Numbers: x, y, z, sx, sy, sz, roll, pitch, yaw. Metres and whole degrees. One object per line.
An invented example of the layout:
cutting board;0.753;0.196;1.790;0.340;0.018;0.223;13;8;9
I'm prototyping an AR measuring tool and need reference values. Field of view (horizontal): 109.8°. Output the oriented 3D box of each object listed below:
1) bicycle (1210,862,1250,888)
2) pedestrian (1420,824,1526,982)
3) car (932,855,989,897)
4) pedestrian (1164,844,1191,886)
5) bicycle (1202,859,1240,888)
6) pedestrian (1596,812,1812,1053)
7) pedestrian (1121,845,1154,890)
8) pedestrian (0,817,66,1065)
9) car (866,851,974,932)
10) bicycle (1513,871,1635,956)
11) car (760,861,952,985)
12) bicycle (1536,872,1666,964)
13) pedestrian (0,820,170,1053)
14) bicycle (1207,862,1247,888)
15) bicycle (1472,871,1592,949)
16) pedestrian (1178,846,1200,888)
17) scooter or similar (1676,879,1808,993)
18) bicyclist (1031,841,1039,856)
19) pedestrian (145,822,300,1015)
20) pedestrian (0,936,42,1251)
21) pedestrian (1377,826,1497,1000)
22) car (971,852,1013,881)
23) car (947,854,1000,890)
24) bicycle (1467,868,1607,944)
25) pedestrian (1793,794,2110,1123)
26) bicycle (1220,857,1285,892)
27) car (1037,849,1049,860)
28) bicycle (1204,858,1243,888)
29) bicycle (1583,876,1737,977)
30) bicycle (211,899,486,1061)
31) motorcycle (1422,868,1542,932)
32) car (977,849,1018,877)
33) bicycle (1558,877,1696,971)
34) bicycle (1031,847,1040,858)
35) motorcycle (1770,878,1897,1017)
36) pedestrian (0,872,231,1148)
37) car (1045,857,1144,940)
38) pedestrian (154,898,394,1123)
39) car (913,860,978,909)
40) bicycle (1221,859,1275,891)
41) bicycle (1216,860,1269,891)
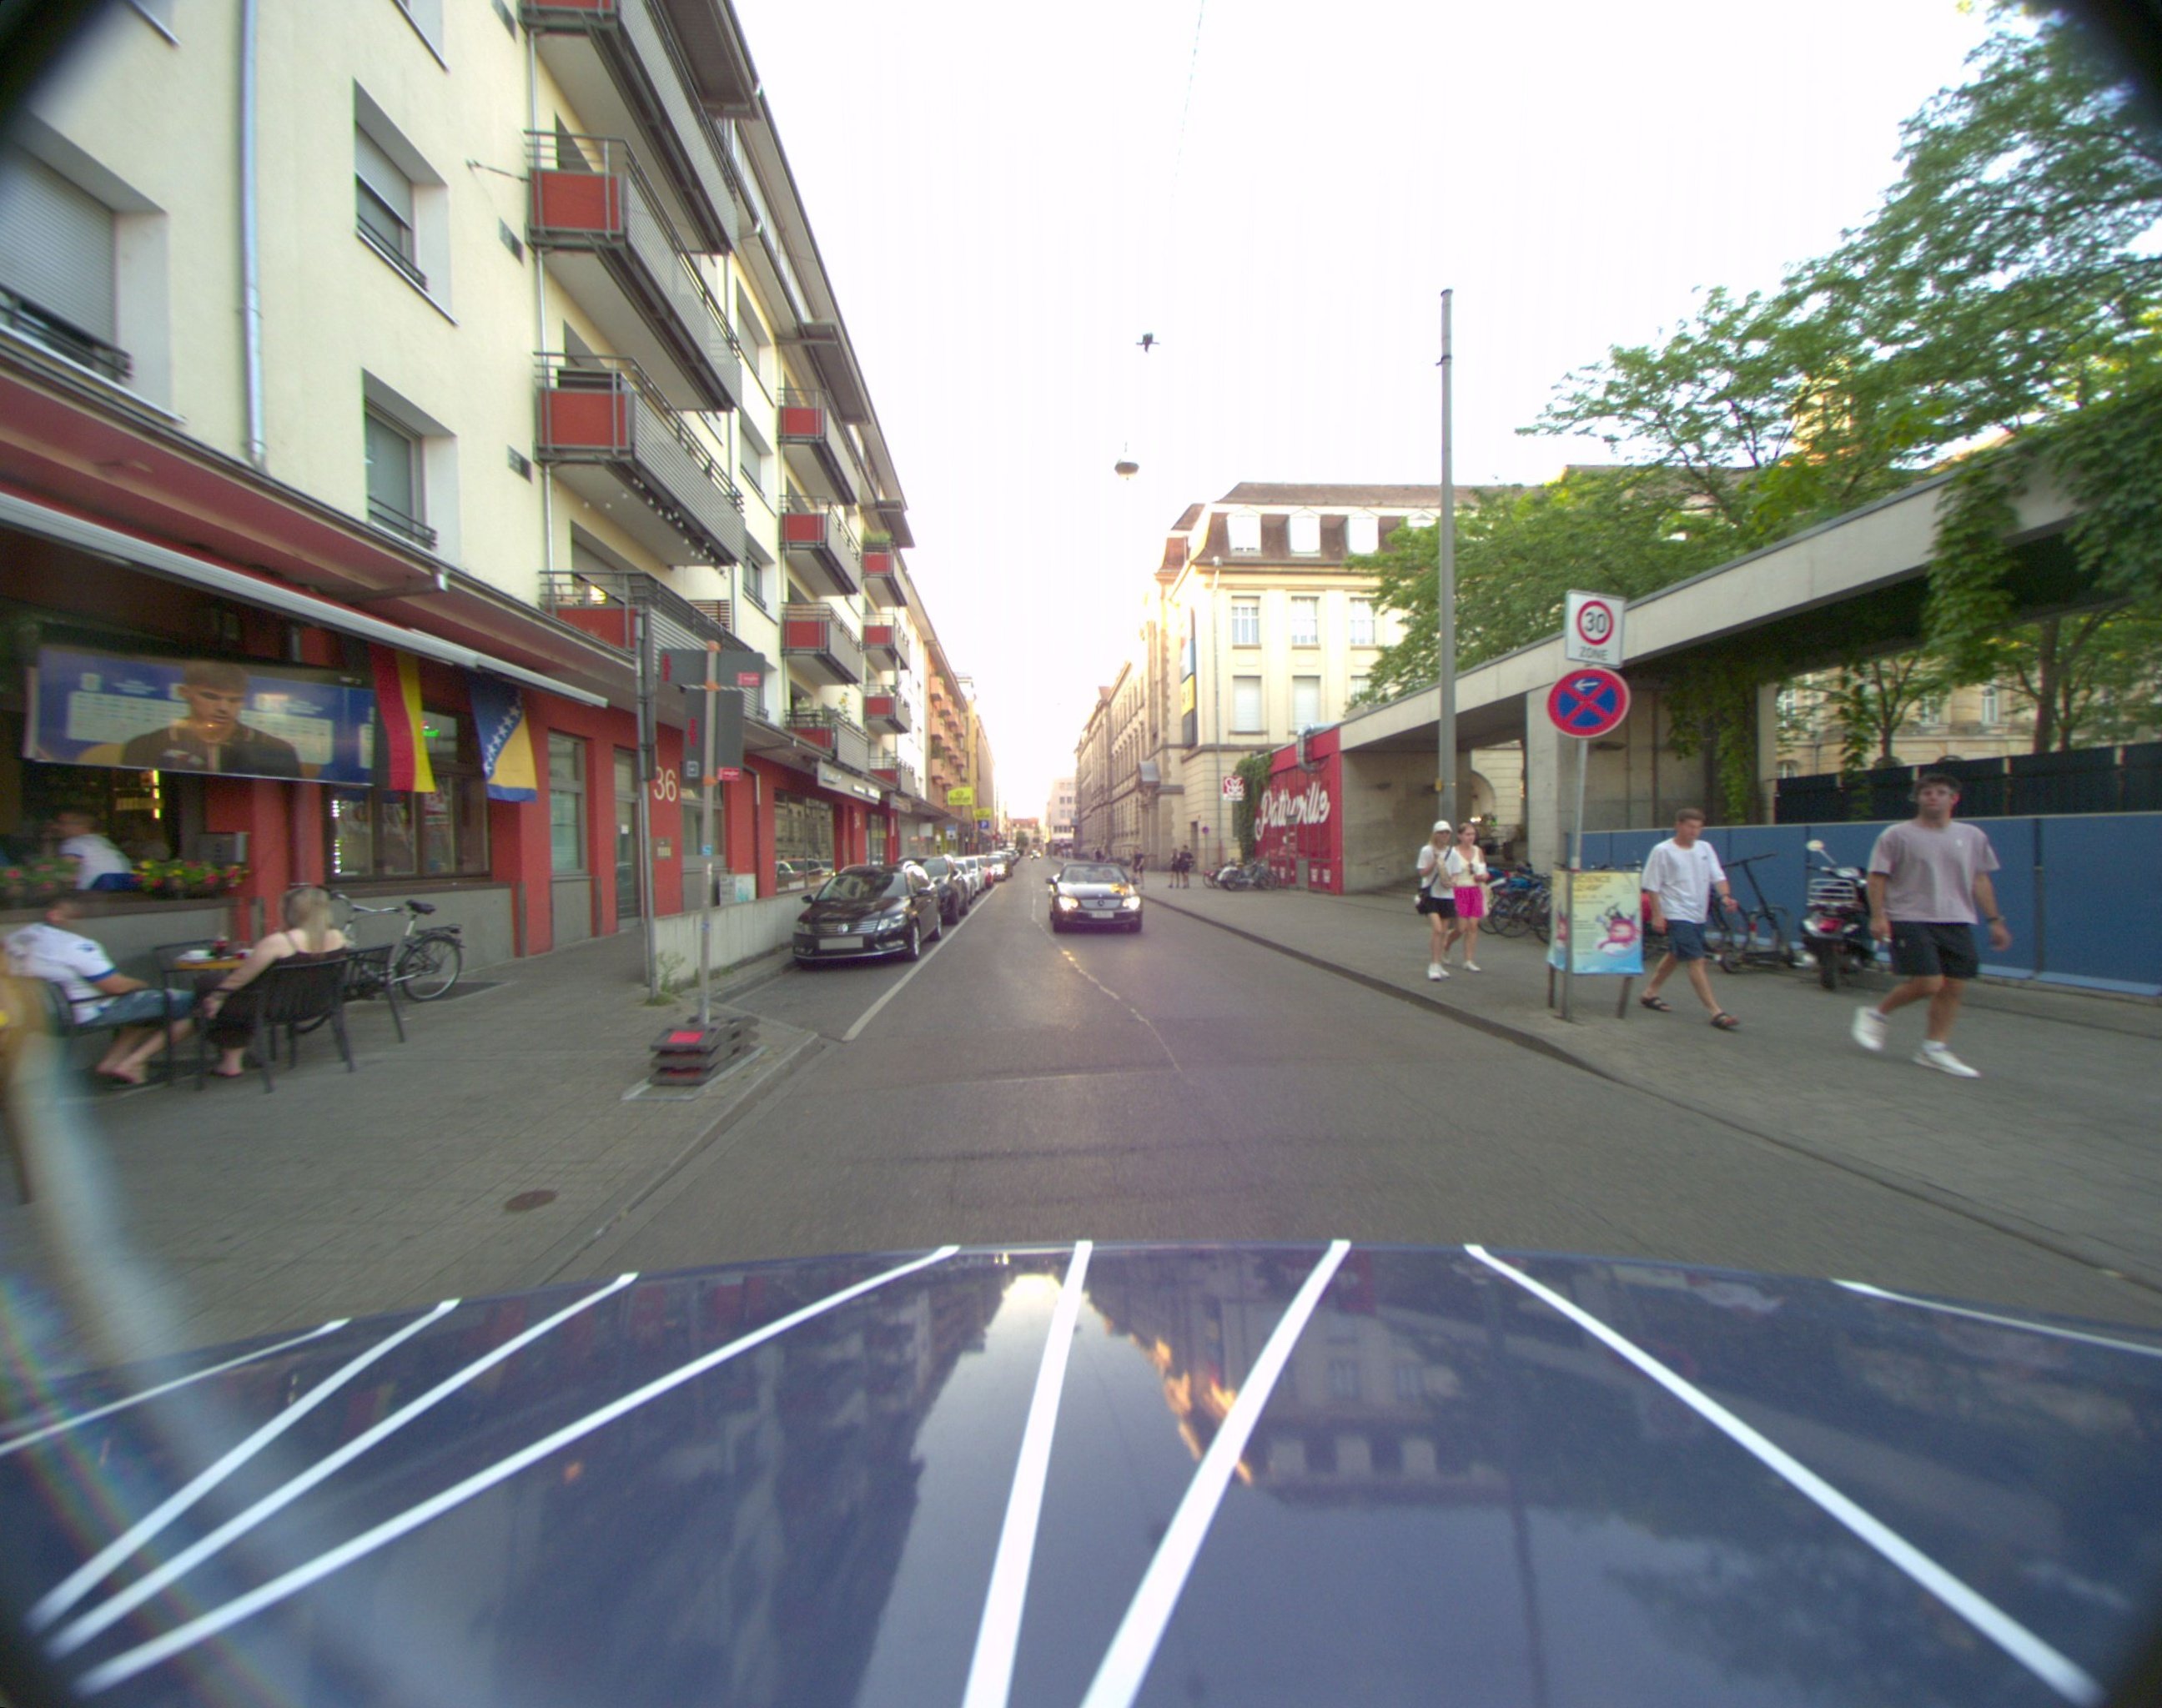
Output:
bicycle;5.850;0.836;29.878;1.501;0.950;0.312;-3;1;-12
pedestrian;4.645;0.558;9.049;0.812;1.783;0.736;-2;1;-2
car;-4.762;0.840;30.461;1.768;1.468;3.946;-2;1;-3
pedestrian;4.056;0.453;31.933;0.921;1.717;0.702;-2;1;-8
bicycle;5.688;0.784;30.844;1.501;1.070;0.312;-3;1;-12
pedestrian;5.025;0.594;6.198;0.984;1.783;0.890;-2;1;-2
pedestrian;2.365;0.538;31.877;1.009;1.816;0.944;-3;1;-26
pedestrian;-7.857;0.611;5.304;0.612;1.729;0.617;-2;1;-5
car;-3.775;0.803;18.557;1.884;1.690;4.136;-2;1;-3
bicycle;6.904;0.816;10.644;1.497;1.082;0.410;-2;1;-7
car;-3.469;0.965;12.719;1.879;1.543;4.629;-2;0;-1
bicycle;6.846;0.828;10.015;1.497;1.105;0.410;-2;1;-7
pedestrian;-7.940;0.612;5.946;0.718;1.711;0.668;-2;1;-5
bicycle;5.808;0.837;30.187;1.501;0.973;0.312;-3;1;-12
bicycle;6.792;0.838;11.481;1.496;1.082;0.436;-2;1;3
pedestrian;4.442;0.523;31.184;0.832;1.717;0.921;-1;1;9
scooter or similar;7.181;0.852;8.243;1.499;1.082;0.410;-3;1;-21
bicyclist;-6.482;-0.754;107.323;1.045;2.002;1.182;-1;1;-2
pedestrian;-9.331;0.672;8.294;0.669;2.002;0.815;-1;1;7
pedestrian;-5.021;1.012;2.969;0.876;1.298;0.854;1;2;16
pedestrian;3.894;0.614;8.381;0.851;1.783;0.869;-2;1;-2
car;-4.918;0.672;42.571;1.897;1.468;4.300;-2;0;-1
car;-4.850;0.767;34.891;1.867;1.468;4.393;-2;0;-1
bicycle;7.190;0.815;12.020;1.872;1.081;0.550;-2;1;-2
pedestrian;5.474;0.605;4.853;0.984;1.873;0.890;-2;1;-2
bicycle;6.124;0.731;27.147;2.180;1.149;0.445;-2;1;2
car;-7.423;0.051;149.522;1.998;2.002;3.999;-1;1;1
bicycle;5.727;0.761;30.501;1.501;1.134;0.312;-3;1;-12
bicycle;6.963;0.852;9.158;1.497;1.082;0.547;-2;1;-7
bicycle;-6.343;1.016;6.771;0.550;1.081;2.005;-2;1;-4
motorcycle;7.070;0.814;13.495;1.824;1.063;0.534;-2;1;25
car;-5.252;0.538;48.285;1.998;1.607;4.367;-2;0;1
bicycle;6.906;0.866;9.620;1.497;1.063;0.442;-2;1;-7
bicycle;-6.488;-0.260;107.413;1.038;1.513;2.821;-1;1;1
motorcycle;7.415;0.850;7.456;1.832;1.120;0.535;-3;1;-35
pedestrian;-6.099;0.897;4.696;0.854;1.527;0.713;-3;1;-26
car;0.191;0.818;16.112;1.809;1.400;4.615;0;1;-1
pedestrian;-5.309;0.978;5.077;0.854;1.271;0.712;-1;3;-26
car;-4.387;0.940;25.090;1.753;1.395;3.965;-2;0;-6
bicycle;6.038;0.762;27.510;1.844;1.077;0.354;-2;1;2
bicycle;5.939;0.792;27.958;1.844;1.077;0.354;-2;1;2
